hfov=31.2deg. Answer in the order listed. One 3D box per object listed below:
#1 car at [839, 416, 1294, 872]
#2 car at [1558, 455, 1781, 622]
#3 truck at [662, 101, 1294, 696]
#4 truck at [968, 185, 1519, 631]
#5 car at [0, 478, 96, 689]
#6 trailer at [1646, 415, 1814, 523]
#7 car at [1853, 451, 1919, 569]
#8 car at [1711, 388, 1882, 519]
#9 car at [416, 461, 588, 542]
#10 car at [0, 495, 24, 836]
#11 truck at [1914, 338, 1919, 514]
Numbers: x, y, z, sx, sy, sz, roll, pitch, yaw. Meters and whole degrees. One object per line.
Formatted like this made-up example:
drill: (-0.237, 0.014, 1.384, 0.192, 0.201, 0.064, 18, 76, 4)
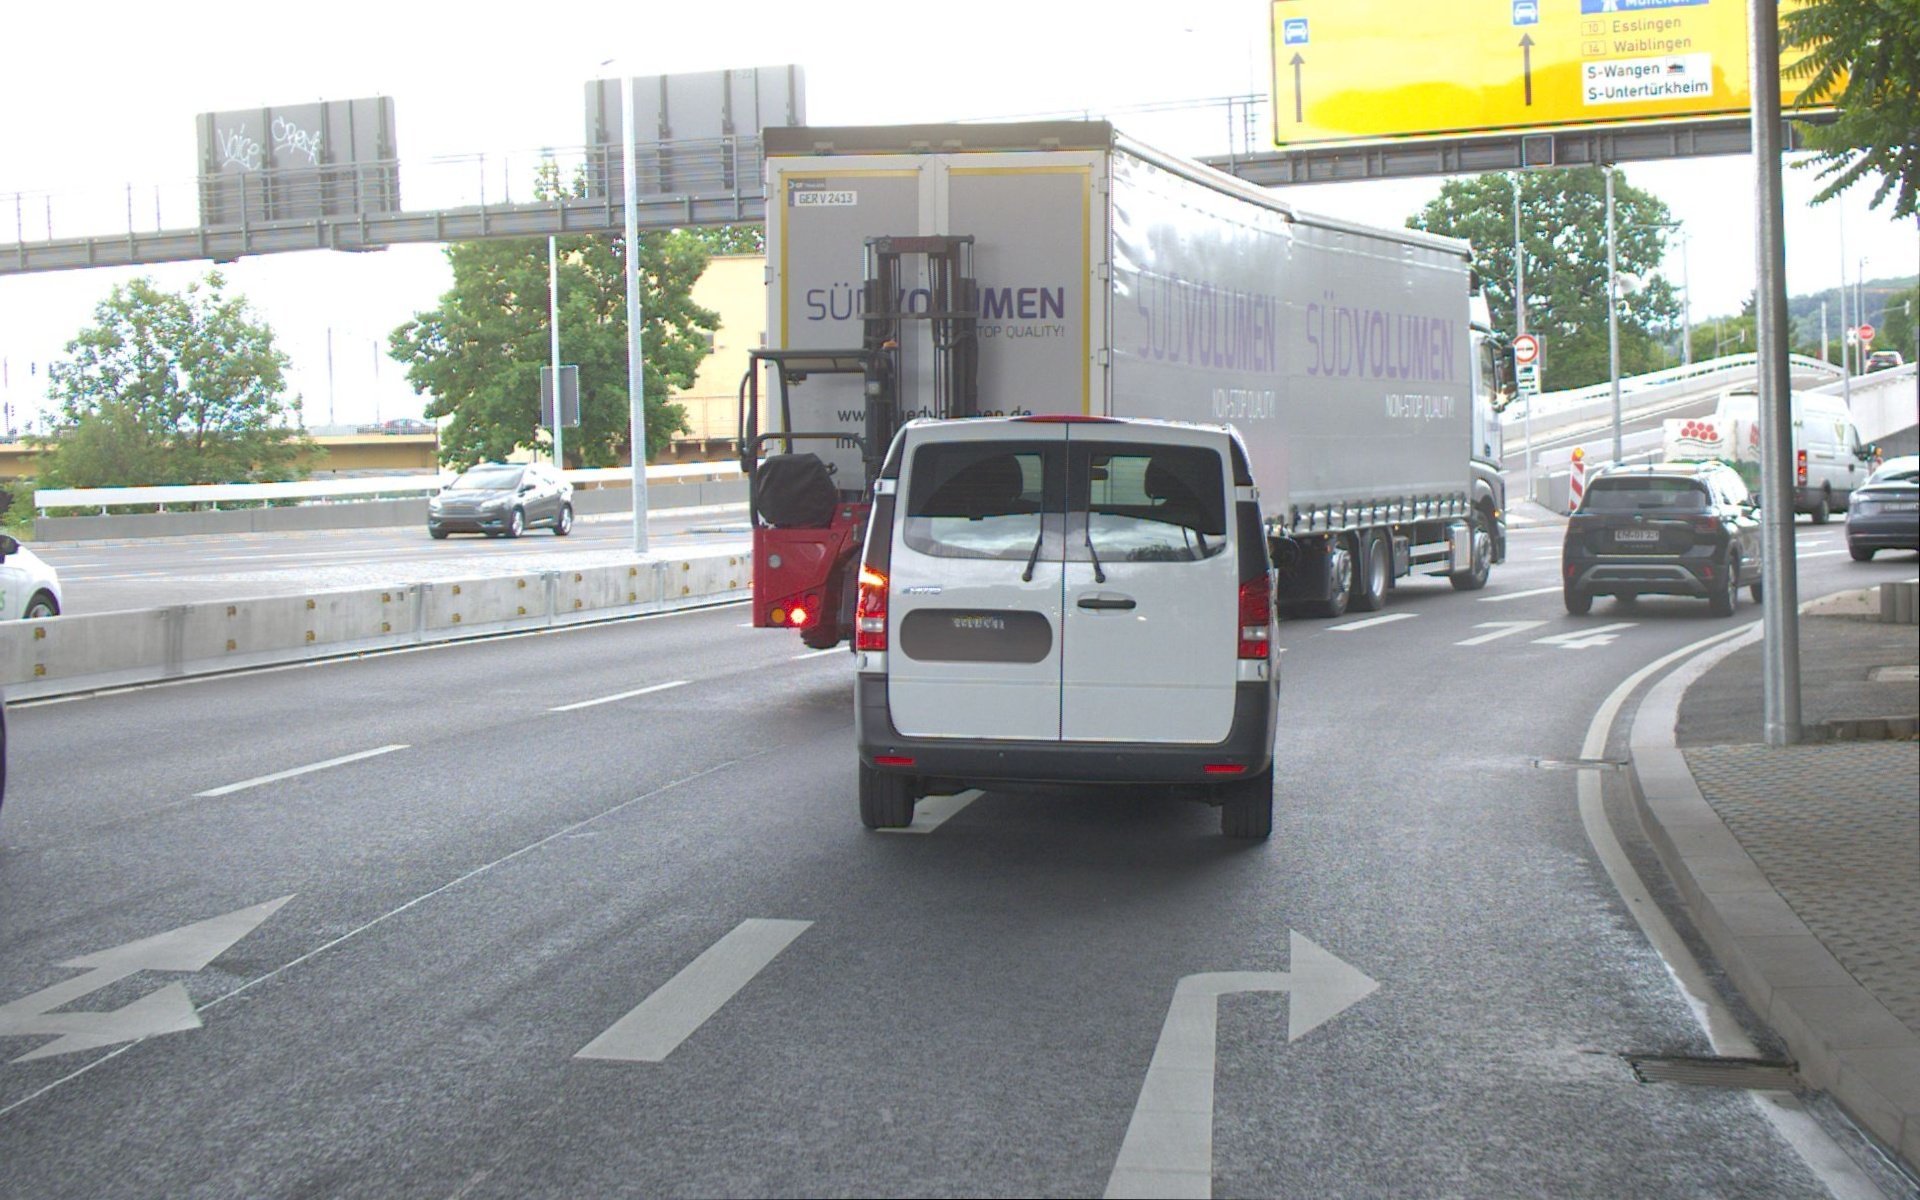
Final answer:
car: (0.557, 0.067, 16.802, 1.876, 1.884, 4.753, 1, 3, 3)
car: (7.645, -0.692, 36.803, 1.751, 1.619, 3.841, -1, 2, 20)
truck: (0.566, -1.535, 28.452, 2.919, 4.003, 10.195, 1, 2, 14)
truck: (3.493, -1.980, 37.896, 2.991, 4.161, 11.229, 1, 2, 21)
car: (-7.555, -0.115, 23.783, 1.576, 1.479, 3.996, 1, 1, 10)
trailer: (14.607, -2.494, 65.081, 1.997, 1.950, 4.072, 2, 3, 29)
car: (13.354, -1.224, 48.225, 1.502, 1.464, 3.396, 3, 0, 14)
car: (16.857, -2.945, 69.097, 1.997, 2.533, 5.166, 2, 3, 29)
car: (-9.112, -1.987, 68.773, 1.737, 1.575, 4.145, 0, 2, 19)
car: (-5.000, 0.337, 12.725, 1.638, 1.428, 3.982, 2, 3, 6)
truck: (26.113, -4.007, 80.459, 3.322, 3.796, 16.567, 1, 3, 29)
